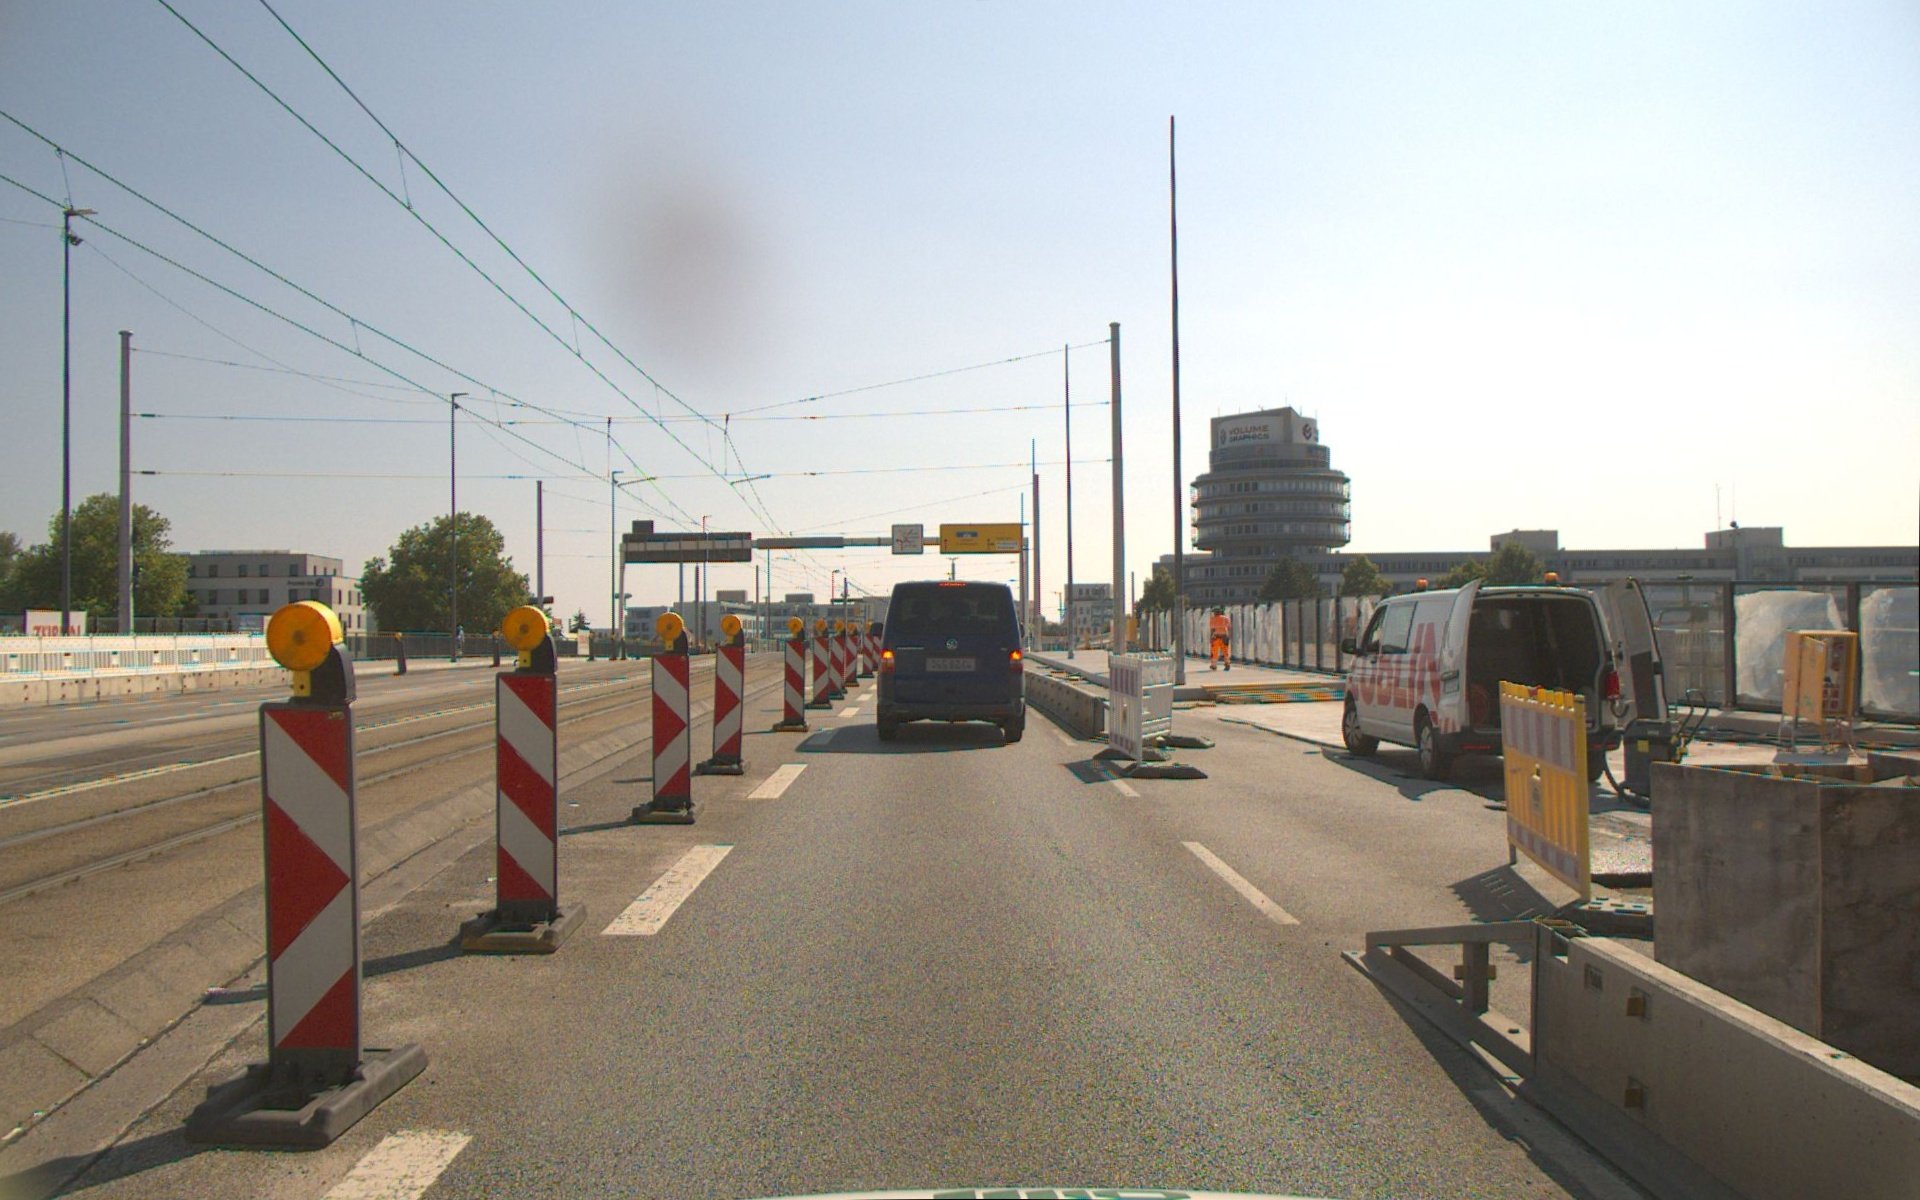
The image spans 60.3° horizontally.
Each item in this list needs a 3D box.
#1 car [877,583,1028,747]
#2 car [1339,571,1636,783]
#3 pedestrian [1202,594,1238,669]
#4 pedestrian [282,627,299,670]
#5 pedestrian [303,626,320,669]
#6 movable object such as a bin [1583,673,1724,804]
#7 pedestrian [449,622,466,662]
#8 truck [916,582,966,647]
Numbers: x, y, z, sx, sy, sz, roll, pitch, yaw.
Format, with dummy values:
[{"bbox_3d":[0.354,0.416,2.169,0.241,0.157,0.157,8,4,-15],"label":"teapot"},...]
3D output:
[{"bbox_3d":[-0.120,0.793,21.801,1.779,1.939,4.053,-1,0,-1],"label":"car"},{"bbox_3d":[5.749,0.807,18.725,1.840,2.069,4.890,0,-1,0],"label":"car"},{"bbox_3d":[7.033,0.855,44.755,0.766,1.969,0.799,-2,-2,-1],"label":"pedestrian"},{"bbox_3d":[-27.251,1.961,67.310,0.485,1.724,0.474,1,-2,-1],"label":"pedestrian"},{"bbox_3d":[-26.401,1.945,67.323,0.485,1.724,0.474,1,-2,-1],"label":"pedestrian"},{"bbox_3d":[6.291,1.234,15.007,0.885,1.093,0.927,1,-1,-45],"label":"movable object such as a bin"},{"bbox_3d":[-24.930,2.079,82.007,0.621,1.927,0.752,0,-1,-1],"label":"pedestrian"},{"bbox_3d":[-1.037,0.734,87.672,2.410,3.189,11.213,-1,0,-1],"label":"truck"}]
